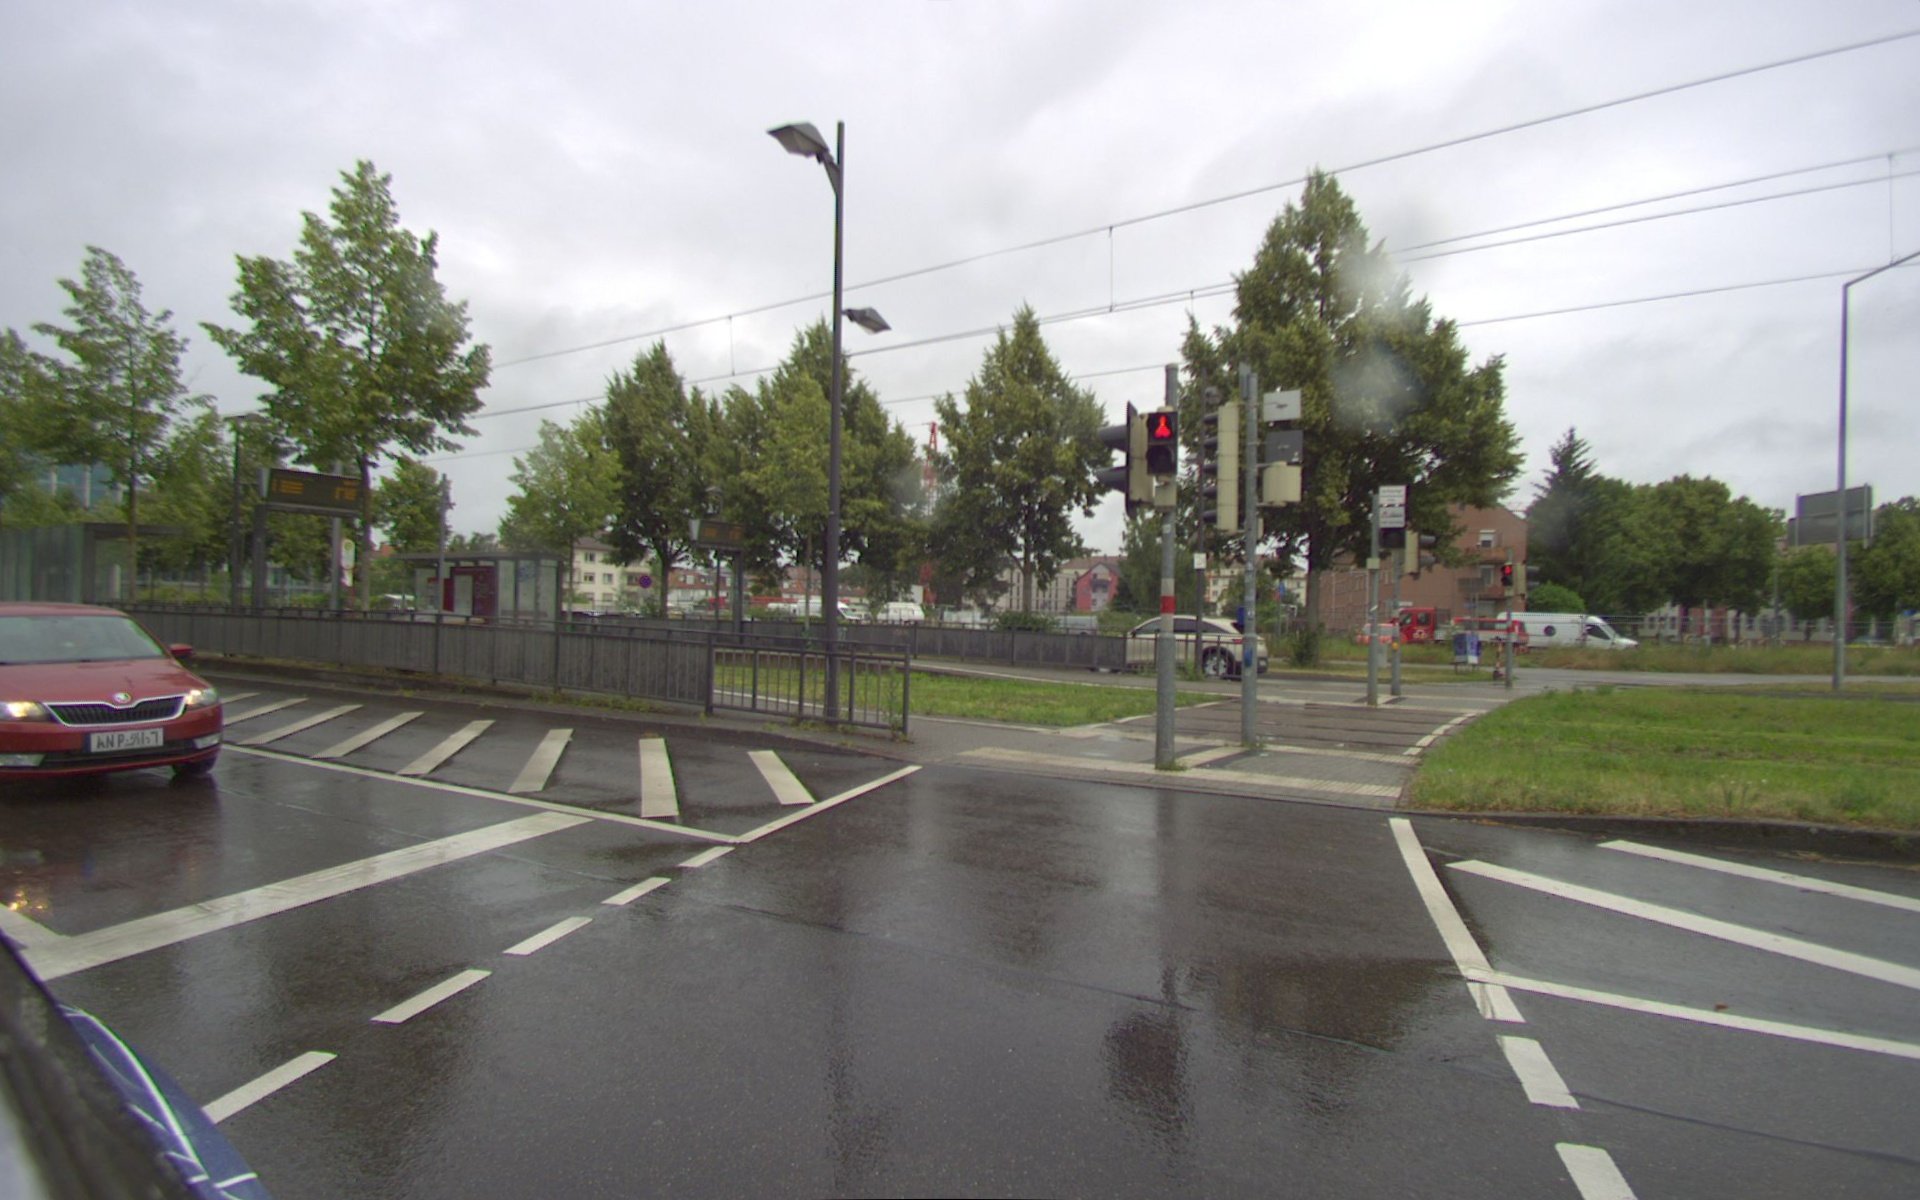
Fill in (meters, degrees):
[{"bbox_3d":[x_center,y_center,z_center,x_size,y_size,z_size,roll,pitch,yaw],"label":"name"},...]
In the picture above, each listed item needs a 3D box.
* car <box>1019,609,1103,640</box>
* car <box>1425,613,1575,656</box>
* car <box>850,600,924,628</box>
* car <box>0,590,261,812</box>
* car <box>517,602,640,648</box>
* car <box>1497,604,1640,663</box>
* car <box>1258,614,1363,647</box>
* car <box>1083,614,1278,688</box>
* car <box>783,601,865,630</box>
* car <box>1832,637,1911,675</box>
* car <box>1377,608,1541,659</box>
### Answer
[{"bbox_3d":[8.622,2.071,86.669,6.786,2.495,2.341,1,-1,21],"label":"car"},{"bbox_3d":[27.602,1.735,51.943,6.431,2.029,2.322,0,-2,45],"label":"car"},{"bbox_3d":[-6.923,1.294,95.837,6.810,2.495,2.476,0,1,31],"label":"car"},{"bbox_3d":[-7.868,0.665,8.586,4.304,1.470,1.769,1,1,34],"label":"car"},{"bbox_3d":[-13.845,0.875,36.628,4.613,1.497,1.811,1,1,33],"label":"car"},{"bbox_3d":[33.525,1.740,55.908,6.431,2.961,2.322,1,1,45],"label":"car"},{"bbox_3d":[22.944,1.966,66.421,6.376,2.029,2.342,0,1,19],"label":"car"},{"bbox_3d":[5.214,1.143,24.088,4.211,1.497,1.832,0,1,32],"label":"car"},{"bbox_3d":[-12.308,1.374,91.485,7.610,2.495,2.333,0,1,31],"label":"car"},{"bbox_3d":[63.870,3.872,71.032,1.980,2.344,4.821,0,1,13],"label":"car"},{"bbox_3d":[22.990,1.471,46.877,6.431,2.029,2.322,1,1,45],"label":"car"}]
